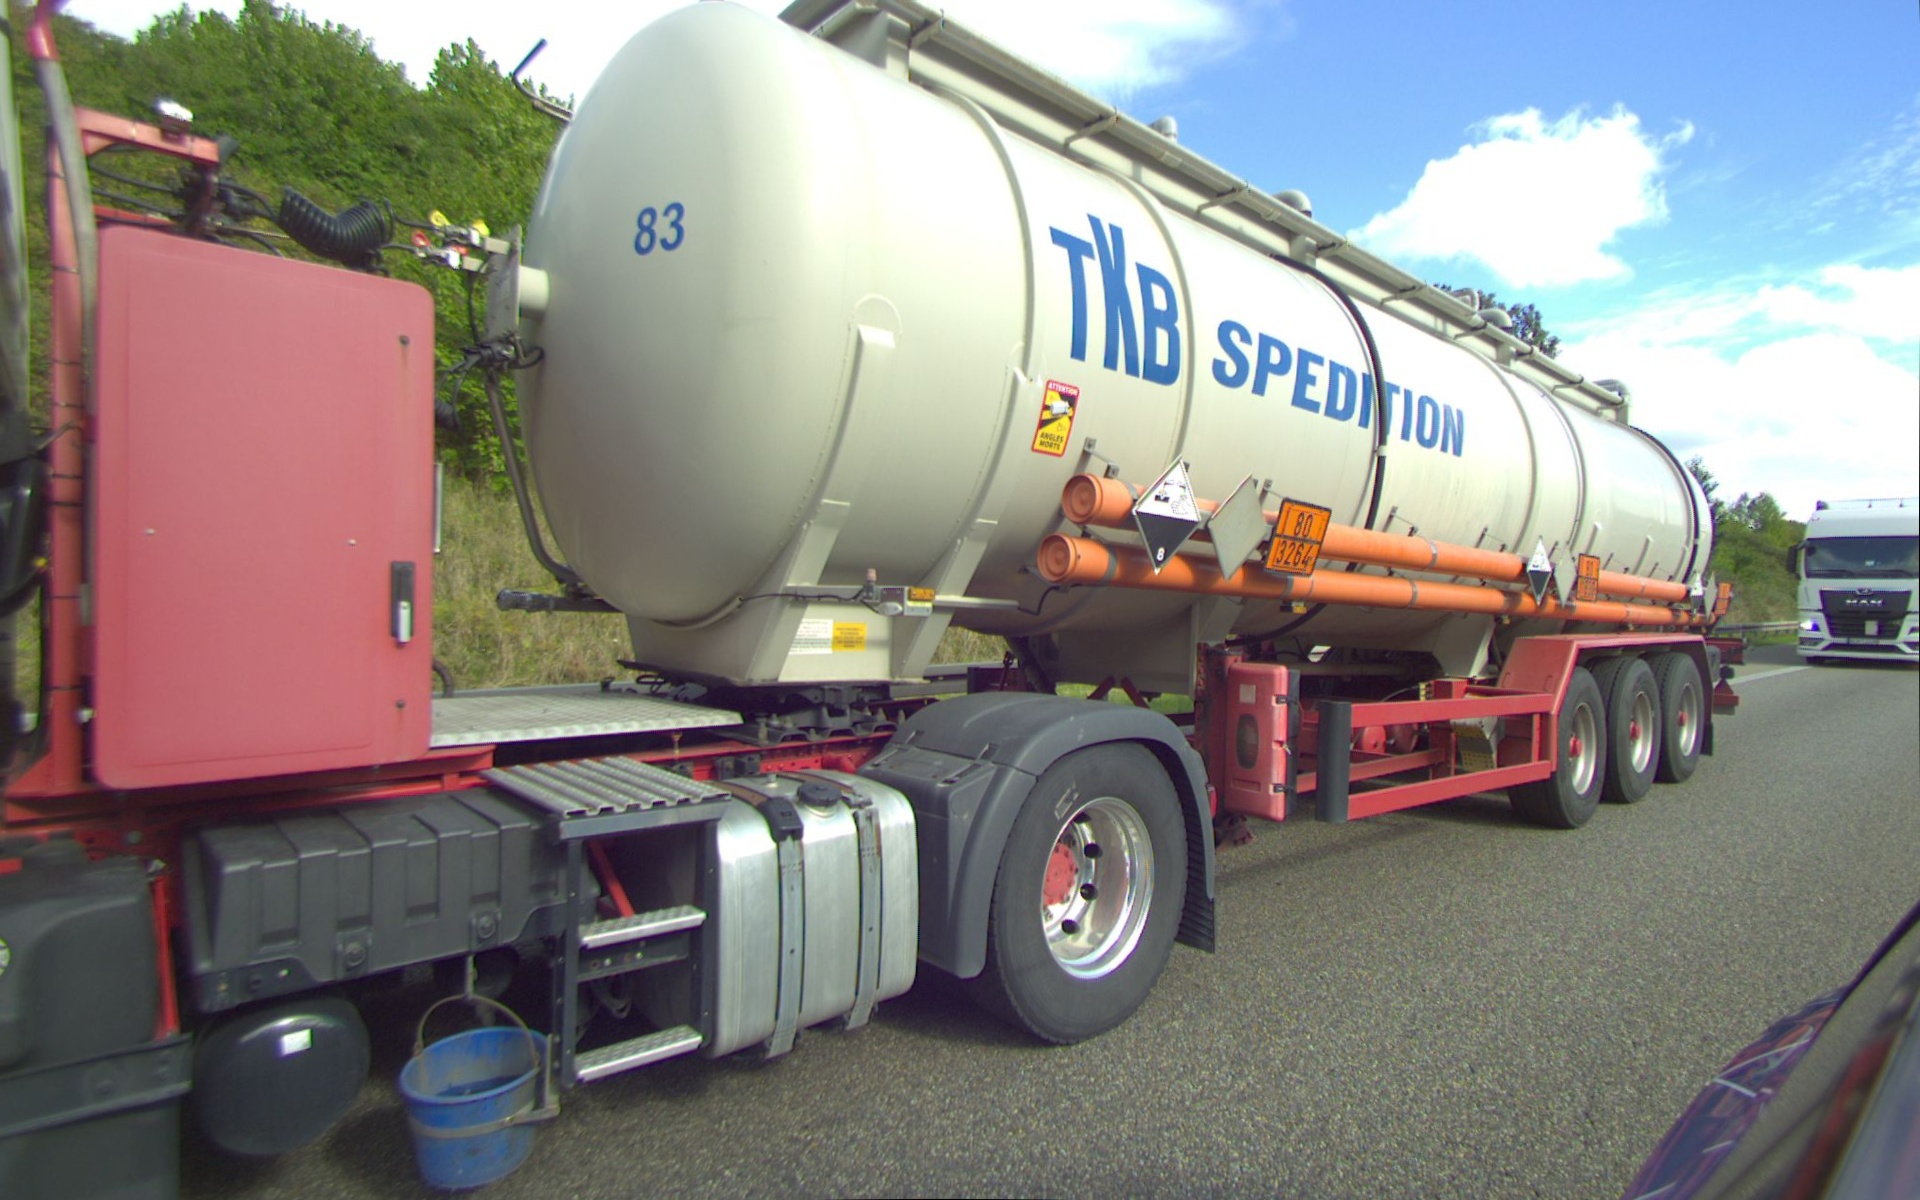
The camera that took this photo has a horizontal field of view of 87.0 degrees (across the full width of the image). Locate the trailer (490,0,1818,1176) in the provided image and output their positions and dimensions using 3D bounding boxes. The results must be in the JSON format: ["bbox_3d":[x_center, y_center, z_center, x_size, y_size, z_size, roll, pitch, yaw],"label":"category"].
[{"bbox_3d":[2.970,-0.715,7.029,10.984,4.077,2.804,0,1,-40],"label":"trailer"}]

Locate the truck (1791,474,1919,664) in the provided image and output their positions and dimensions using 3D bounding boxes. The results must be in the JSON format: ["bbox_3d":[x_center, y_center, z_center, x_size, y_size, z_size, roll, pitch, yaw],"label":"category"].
[{"bbox_3d":[22.394,-0.691,24.286,5.606,4.122,2.839,0,0,-40],"label":"truck"}]

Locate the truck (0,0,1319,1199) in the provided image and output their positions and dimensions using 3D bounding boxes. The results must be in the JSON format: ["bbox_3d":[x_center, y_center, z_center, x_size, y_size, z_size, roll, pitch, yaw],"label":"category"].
[{"bbox_3d":[-1.759,-0.685,3.011,5.799,4.094,2.808,0,0,-40],"label":"truck"}]

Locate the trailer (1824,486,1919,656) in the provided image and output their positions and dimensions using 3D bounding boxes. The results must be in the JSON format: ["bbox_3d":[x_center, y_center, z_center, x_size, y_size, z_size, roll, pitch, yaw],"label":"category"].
[{"bbox_3d":[28.082,-0.732,29.123,13.135,4.122,2.831,0,1,-40],"label":"trailer"}]
